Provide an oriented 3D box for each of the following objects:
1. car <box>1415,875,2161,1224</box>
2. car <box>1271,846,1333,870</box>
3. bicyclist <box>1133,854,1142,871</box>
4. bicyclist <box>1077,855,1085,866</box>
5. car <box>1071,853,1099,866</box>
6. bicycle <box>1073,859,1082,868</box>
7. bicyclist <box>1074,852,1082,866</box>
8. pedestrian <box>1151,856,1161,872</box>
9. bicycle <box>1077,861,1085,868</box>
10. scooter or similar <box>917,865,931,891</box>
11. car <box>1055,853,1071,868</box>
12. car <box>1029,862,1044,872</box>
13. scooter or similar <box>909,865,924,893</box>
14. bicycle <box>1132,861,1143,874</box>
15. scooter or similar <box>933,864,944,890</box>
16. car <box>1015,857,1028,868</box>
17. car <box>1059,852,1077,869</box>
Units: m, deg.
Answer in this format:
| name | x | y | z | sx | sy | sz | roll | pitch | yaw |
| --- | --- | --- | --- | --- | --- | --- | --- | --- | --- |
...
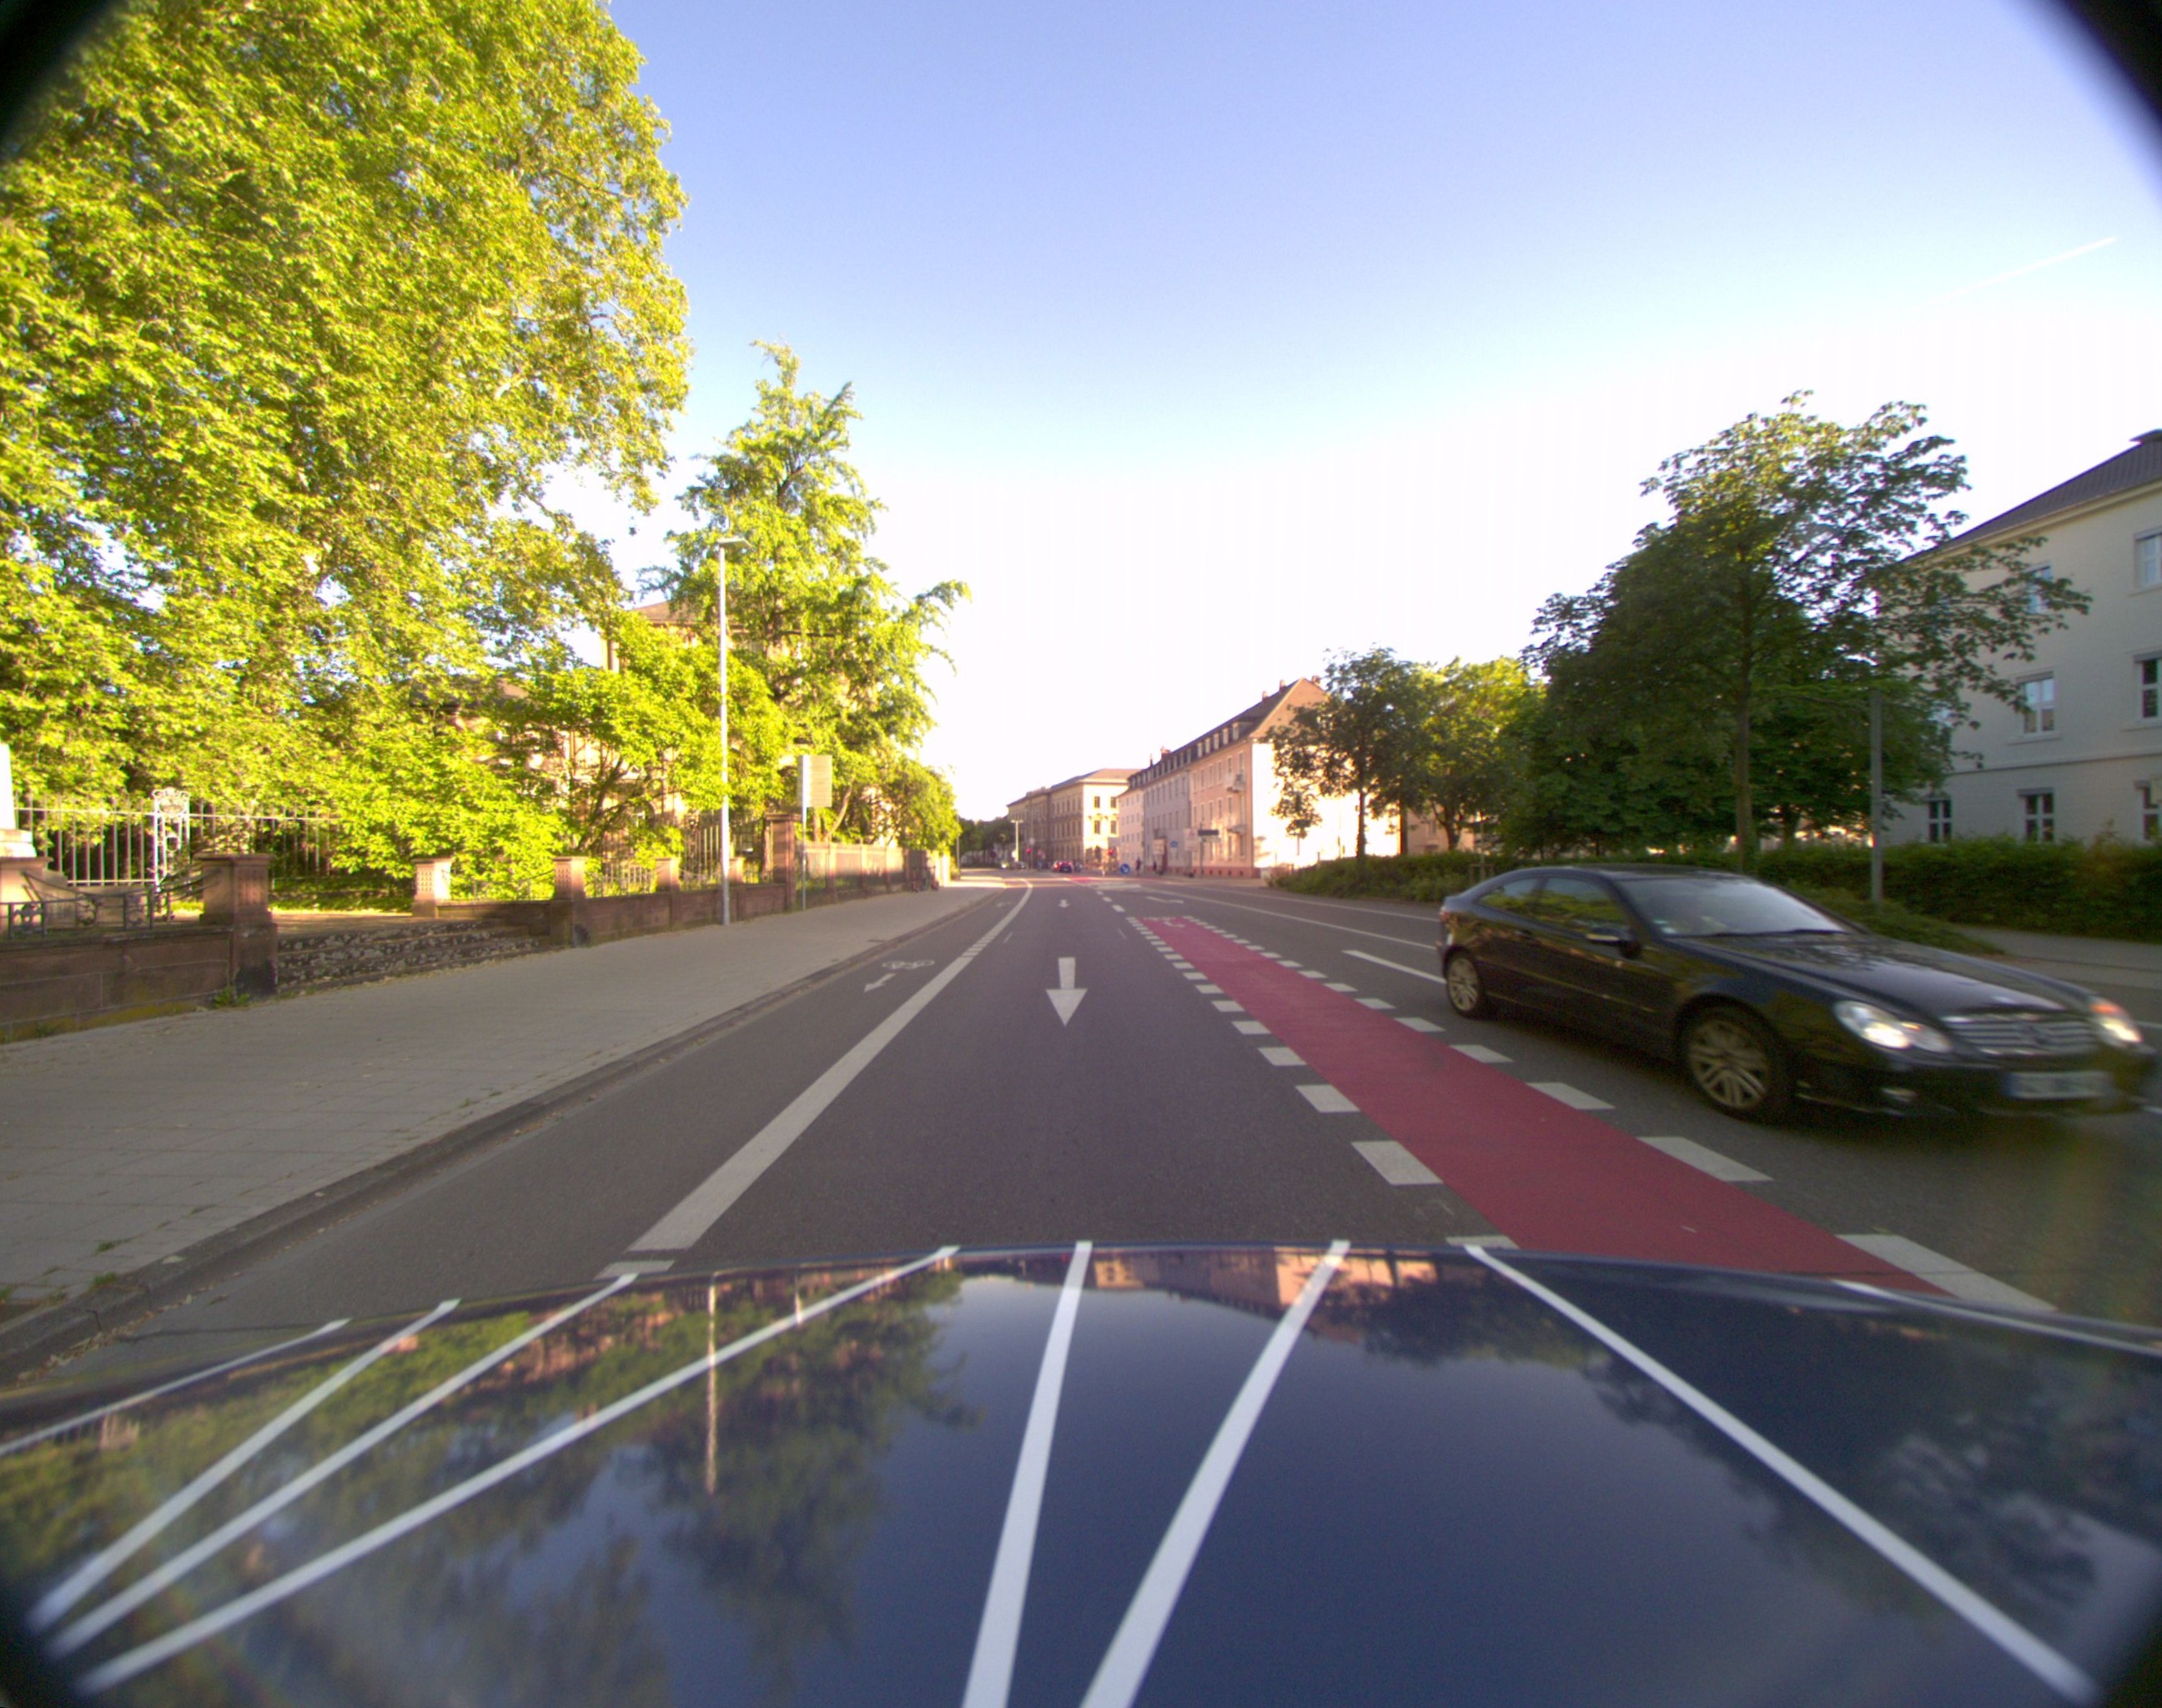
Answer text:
| name | x | y | z | sx | sy | sz | roll | pitch | yaw |
| --- | --- | --- | --- | --- | --- | --- | --- | --- | --- |
| car | 4.313 | 0.912 | 5.478 | 1.709 | 1.397 | 4.263 | 0 | 0 | -4 |
| car | 16.699 | 0.309 | 57.547 | 4.000 | 1.652 | 1.998 | -2 | 1 | -9 |
| bicyclist | 5.249 | 0.778 | 70.376 | 0.691 | 1.553 | 0.838 | 1 | 0 | -3 |
| bicyclist | 0.005 | 0.911 | 104.303 | 1.026 | 1.481 | 0.870 | 0 | 0 | -9 |
| car | 0.650 | 0.907 | 126.977 | 4.513 | 2.093 | 2.000 | 0 | 0 | -1 |
| bicycle | -0.488 | 1.399 | 108.867 | 0.956 | 1.216 | 2.776 | 0 | 0 | -9 |
| bicyclist | -0.483 | 0.689 | 108.906 | 0.956 | 2.002 | 1.307 | 0 | 0 | -9 |
| pedestrian | 9.091 | 1.183 | 92.058 | 0.949 | 1.894 | 1.062 | -2 | 1 | -7 |
| bicycle | 0.003 | 1.420 | 104.374 | 0.663 | 0.907 | 2.861 | 0 | 0 | -9 |
| scooter or similar | -7.569 | 1.145 | 36.702 | 0.576 | 1.177 | 1.487 | 0 | 0 | -7 |
| car | -2.431 | 0.874 | 102.166 | 1.999 | 2.002 | 3.998 | 0 | 0 | -5 |
| car | -7.628 | 2.220 | 129.807 | 1.639 | 1.478 | 3.697 | -2 | 1 | -17 |
| scooter or similar | -7.555 | 1.130 | 34.850 | 0.577 | 1.246 | 1.486 | 0 | 0 | -15 |
| bicycle | 5.242 | 1.230 | 70.353 | 0.697 | 1.152 | 2.245 | 1 | 0 | -3 |
| scooter or similar | -7.095 | 1.134 | 37.784 | 0.517 | 1.233 | 1.521 | 0 | 0 | -11 |
| car | -10.208 | 1.441 | 129.974 | 1.867 | 1.871 | 4.000 | -2 | 1 | 1 |
| car | -1.714 | 0.822 | 96.410 | 1.999 | 2.002 | 3.998 | 0 | 0 | -5 |
